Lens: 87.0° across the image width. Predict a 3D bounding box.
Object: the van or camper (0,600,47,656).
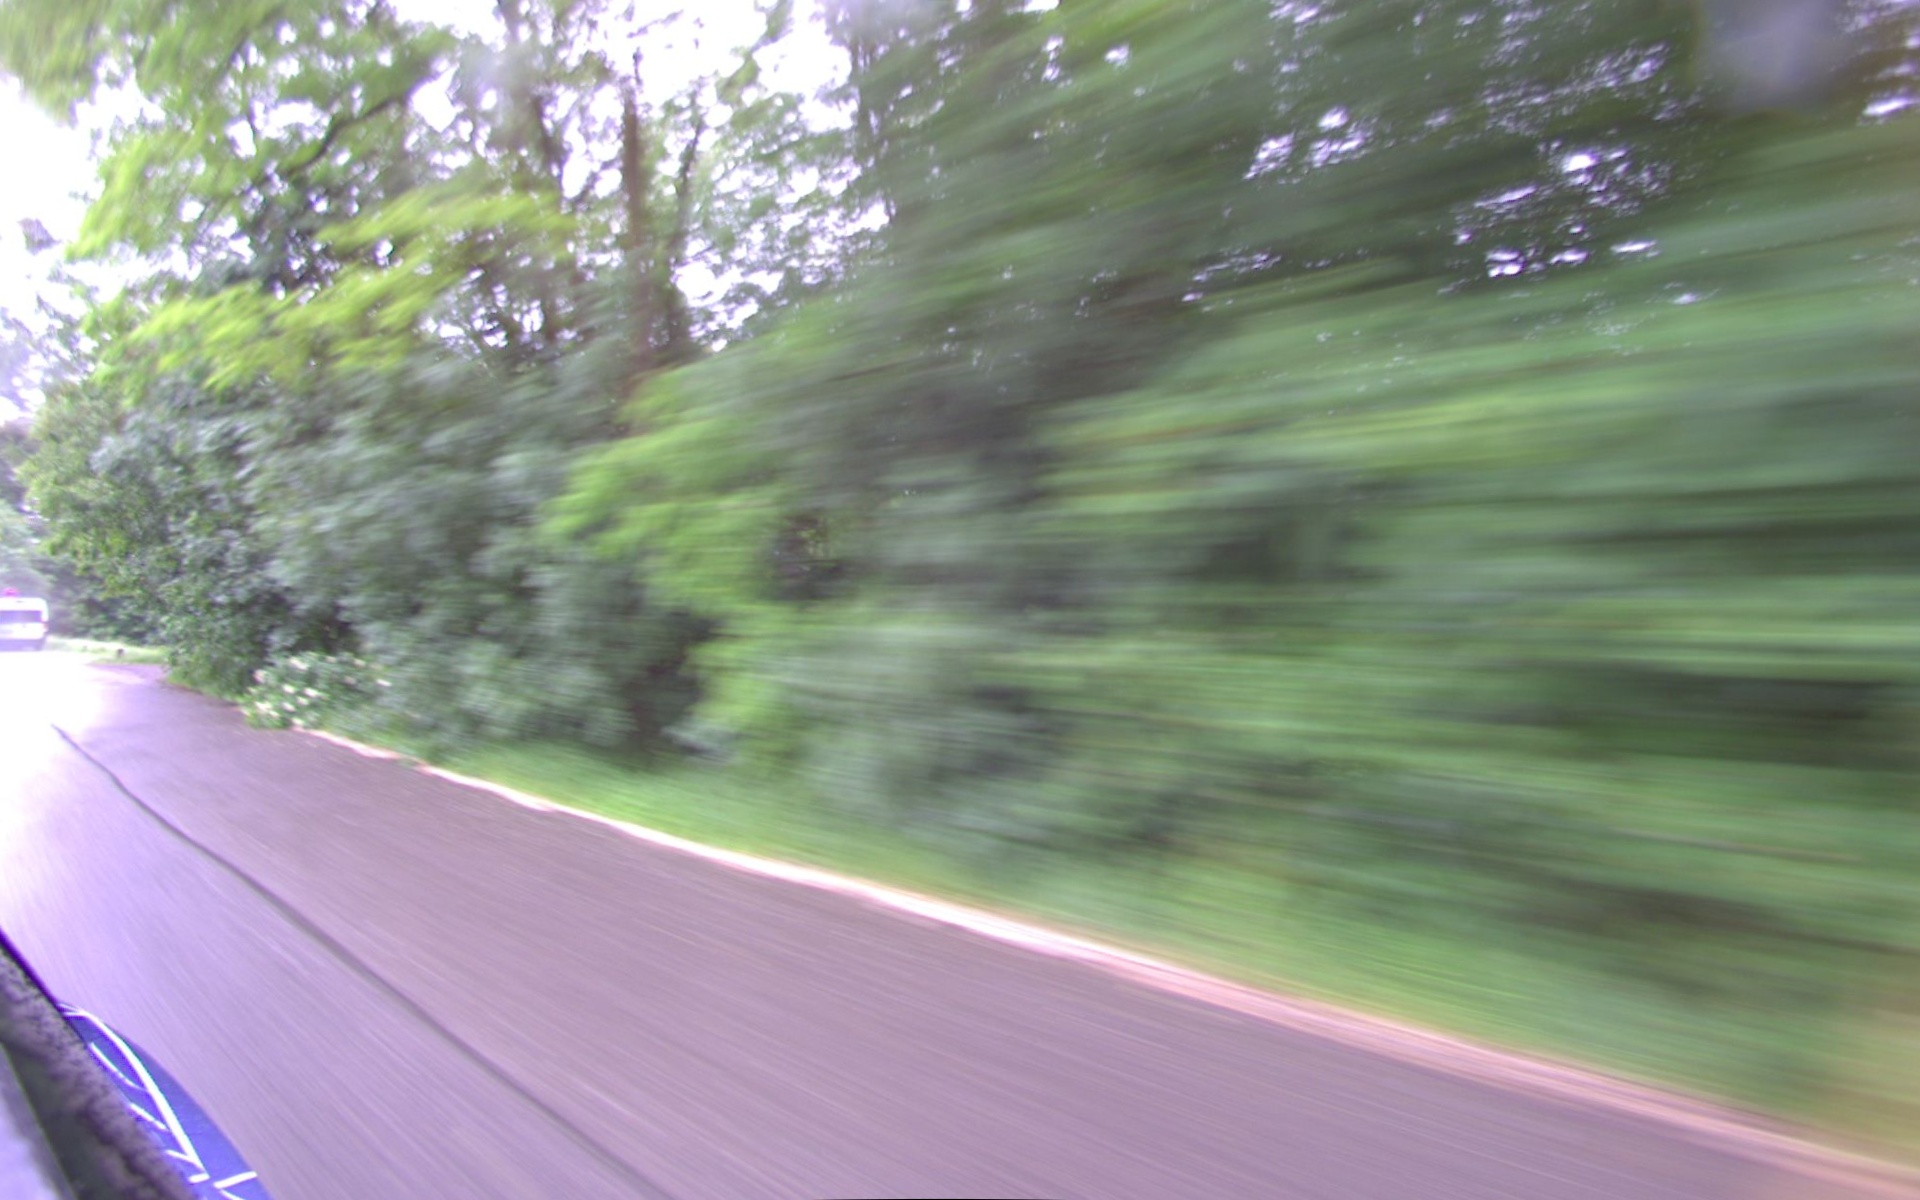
[{"bbox_3d":[-45.338,1.351,47.887,4.828,2.535,2.176,-1,-3,37],"label":"van or camper"}]
